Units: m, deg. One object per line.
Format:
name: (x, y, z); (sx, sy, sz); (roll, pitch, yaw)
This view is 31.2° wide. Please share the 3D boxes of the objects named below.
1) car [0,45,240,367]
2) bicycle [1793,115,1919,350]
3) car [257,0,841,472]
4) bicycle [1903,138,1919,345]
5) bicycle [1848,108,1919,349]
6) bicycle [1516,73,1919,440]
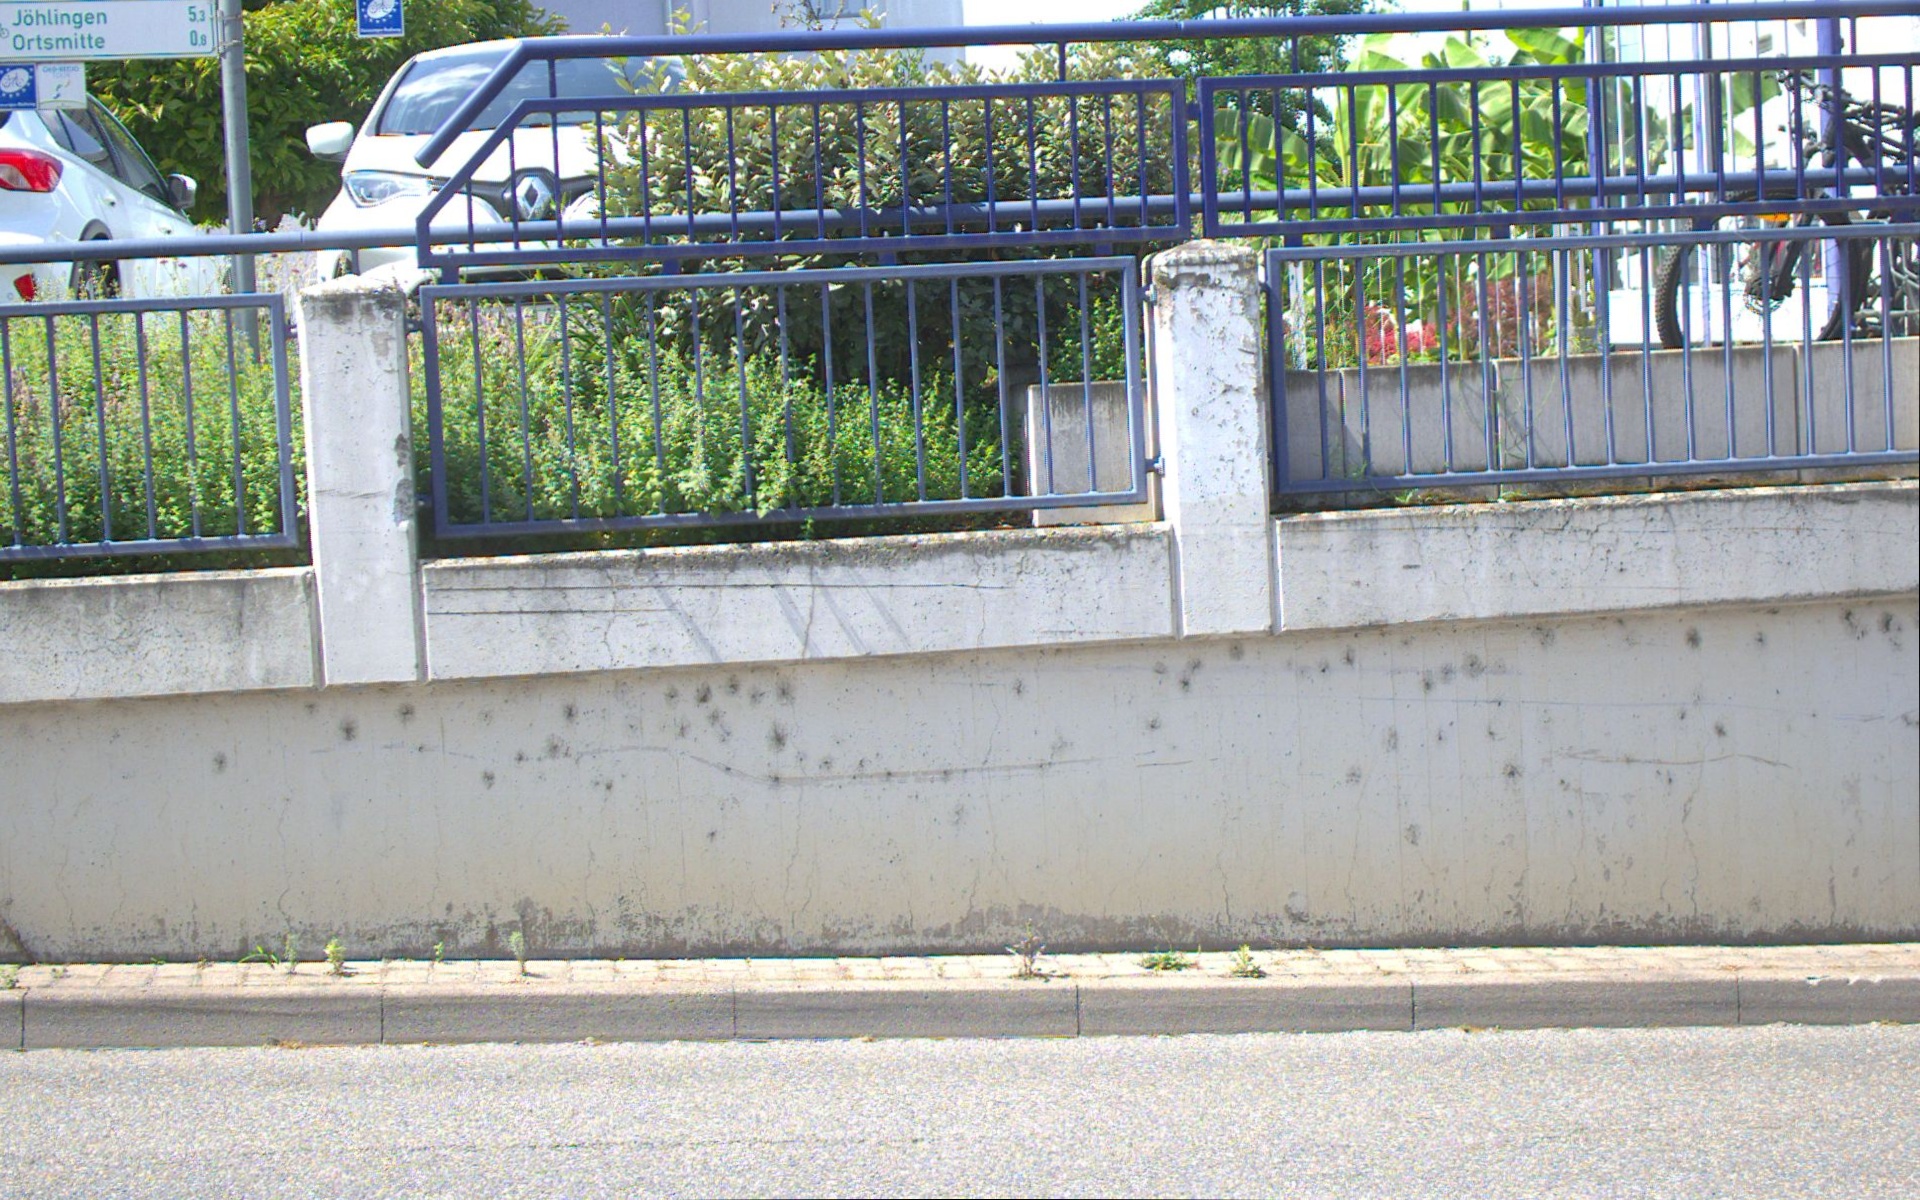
car: (-4.153, -1.535, 13.962); (1.825, 1.016, 3.460); (1, 2, -2)
bicycle: (4.120, -1.648, 15.687); (0.455, 0.991, 1.888); (-1, 4, 9)
car: (-1.504, -1.447, 14.064); (1.993, 1.791, 4.197); (1, 2, -2)
bicycle: (4.795, -1.686, 15.895); (0.373, 0.991, 1.966); (-2, 4, 2)
bicycle: (4.206, -1.536, 14.040); (0.332, 0.991, 2.077); (-2, 4, -8)
bicycle: (2.882, -1.121, 11.109); (2.114, 1.122, 0.333); (-2, 4, -8)
